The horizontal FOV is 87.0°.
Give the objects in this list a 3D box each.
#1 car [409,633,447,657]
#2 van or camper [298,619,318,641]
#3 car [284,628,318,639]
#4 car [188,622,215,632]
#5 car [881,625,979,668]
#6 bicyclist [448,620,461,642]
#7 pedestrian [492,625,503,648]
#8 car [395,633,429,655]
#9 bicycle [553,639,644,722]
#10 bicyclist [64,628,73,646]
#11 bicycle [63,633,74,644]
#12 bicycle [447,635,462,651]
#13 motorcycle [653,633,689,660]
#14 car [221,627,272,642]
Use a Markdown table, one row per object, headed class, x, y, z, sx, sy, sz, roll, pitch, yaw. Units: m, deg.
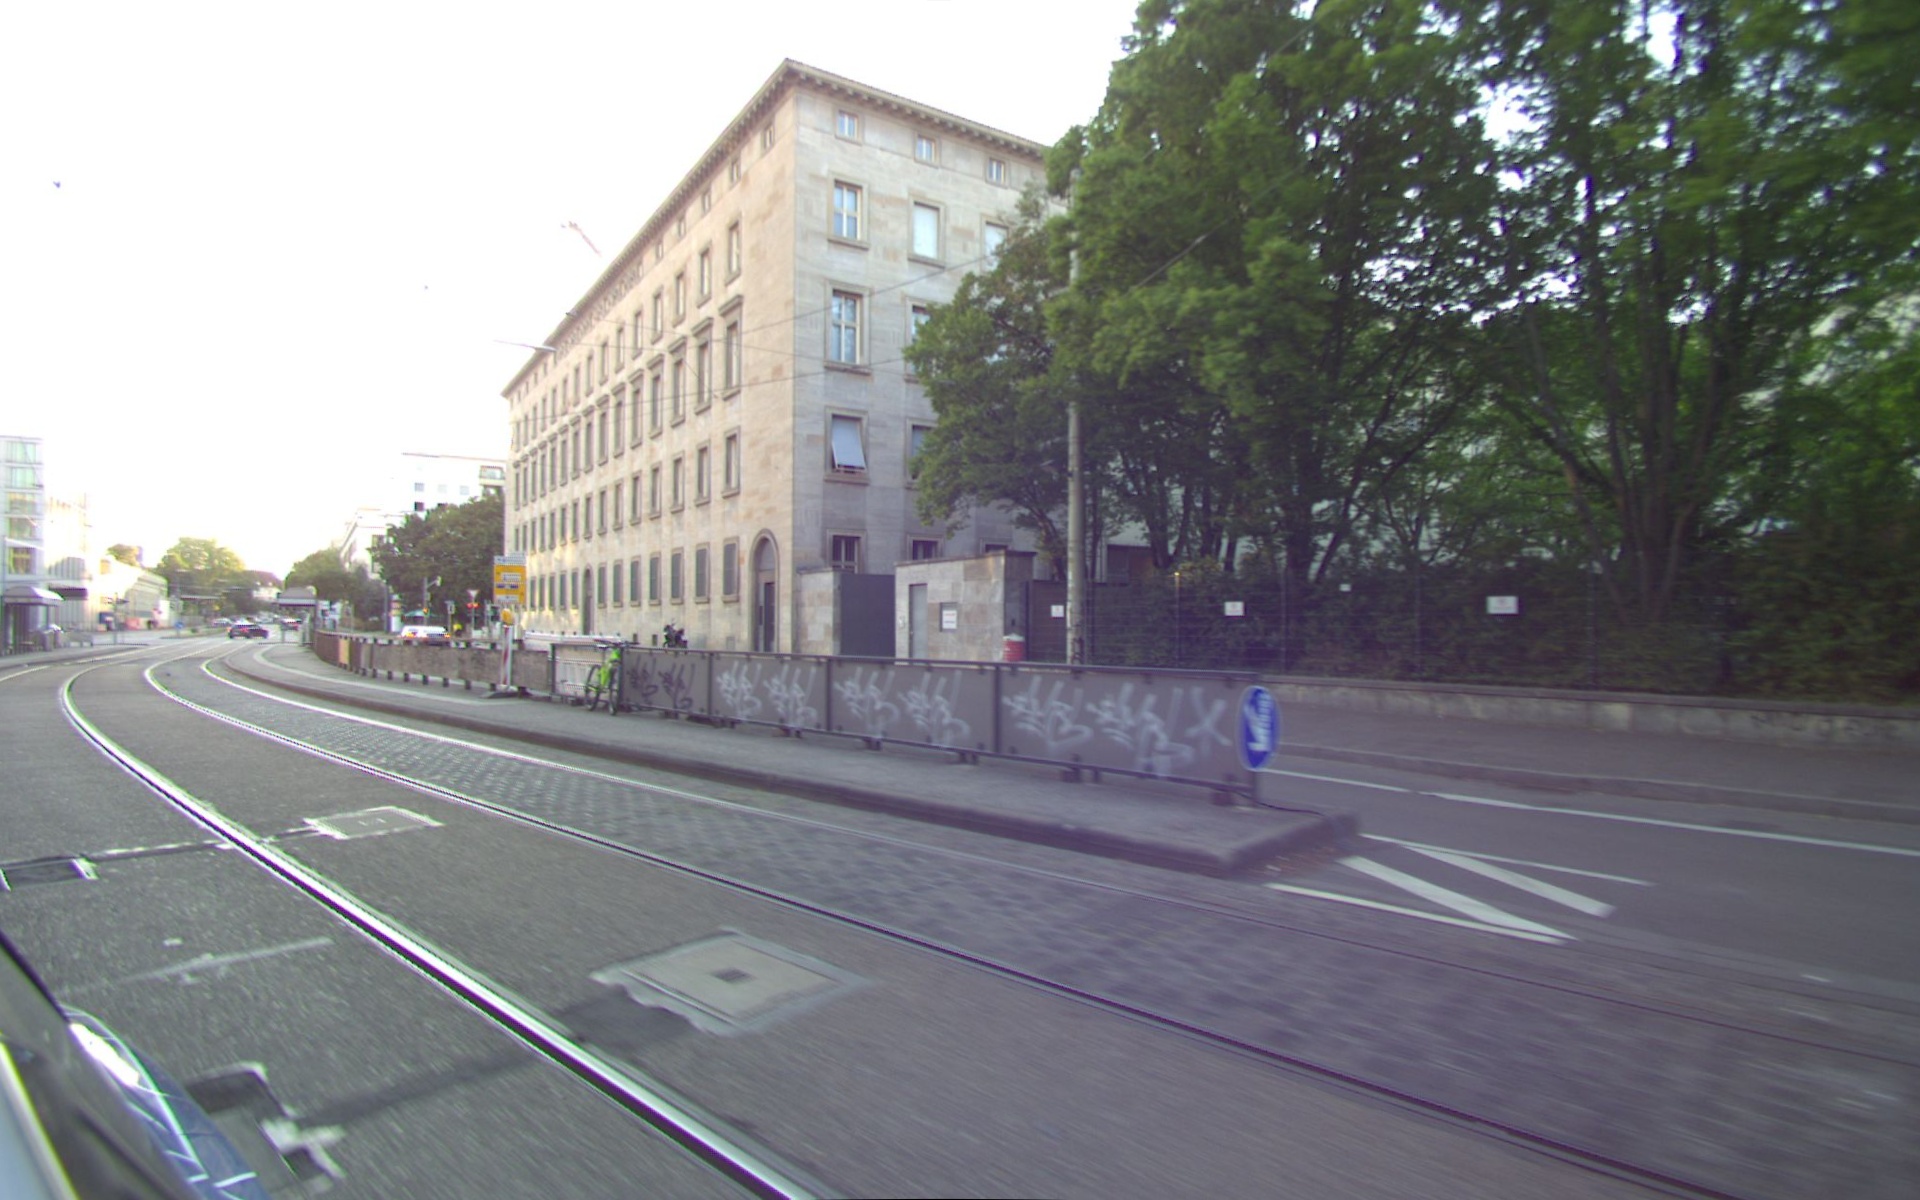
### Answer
| class | x | y | z | sx | sy | sz | roll | pitch | yaw |
| --- | --- | --- | --- | --- | --- | --- | --- | --- | --- |
| car | -32.853 | 2.761 | 62.462 | 1.620 | 1.438 | 3.715 | 3 | -3 | -33 |
| van or camper | -86.226 | 3.985 | 133.826 | 2.076 | 2.702 | 4.723 | 0 | -4 | -32 |
| car | -96.950 | 4.899 | 148.922 | 4.308 | 1.676 | 1.876 | -1 | -2 | 17 |
| car | -138.385 | 4.927 | 184.731 | 3.745 | 1.661 | 1.868 | 1 | -2 | -34 |
| car | -1.056 | 1.599 | 35.605 | 3.133 | 1.430 | 1.482 | 1 | -2 | -34 |
| bicyclist | -33.667 | 2.054 | 67.408 | 0.746 | 1.452 | 0.598 | 1 | -2 | -33 |
| pedestrian | -36.121 | 2.852 | 79.088 | 0.686 | 1.723 | 0.648 | 1 | -2 | -31 |
| car | -36.673 | 2.926 | 67.702 | 1.620 | 1.438 | 4.243 | 2 | -3 | -33 |
| bicycle | -5.155 | 1.106 | 14.363 | 0.457 | 1.083 | 2.024 | 2 | -3 | -42 |
| bicyclist | -82.716 | 3.457 | 93.918 | 0.532 | 1.648 | 0.598 | 1 | -2 | -33 |
| bicycle | -82.731 | 3.587 | 93.924 | 0.531 | 1.059 | 1.766 | 1 | -2 | -33 |
| bicycle | -33.597 | 2.848 | 67.269 | 0.731 | 1.025 | 1.766 | 1 | -2 | -33 |
| motorcycle | -12.073 | 1.912 | 42.246 | 0.689 | 1.083 | 2.661 | 2 | -2 | -33 |
| car | -65.415 | 3.151 | 92.865 | 1.675 | 1.431 | 4.172 | 0 | -2 | 1 |
